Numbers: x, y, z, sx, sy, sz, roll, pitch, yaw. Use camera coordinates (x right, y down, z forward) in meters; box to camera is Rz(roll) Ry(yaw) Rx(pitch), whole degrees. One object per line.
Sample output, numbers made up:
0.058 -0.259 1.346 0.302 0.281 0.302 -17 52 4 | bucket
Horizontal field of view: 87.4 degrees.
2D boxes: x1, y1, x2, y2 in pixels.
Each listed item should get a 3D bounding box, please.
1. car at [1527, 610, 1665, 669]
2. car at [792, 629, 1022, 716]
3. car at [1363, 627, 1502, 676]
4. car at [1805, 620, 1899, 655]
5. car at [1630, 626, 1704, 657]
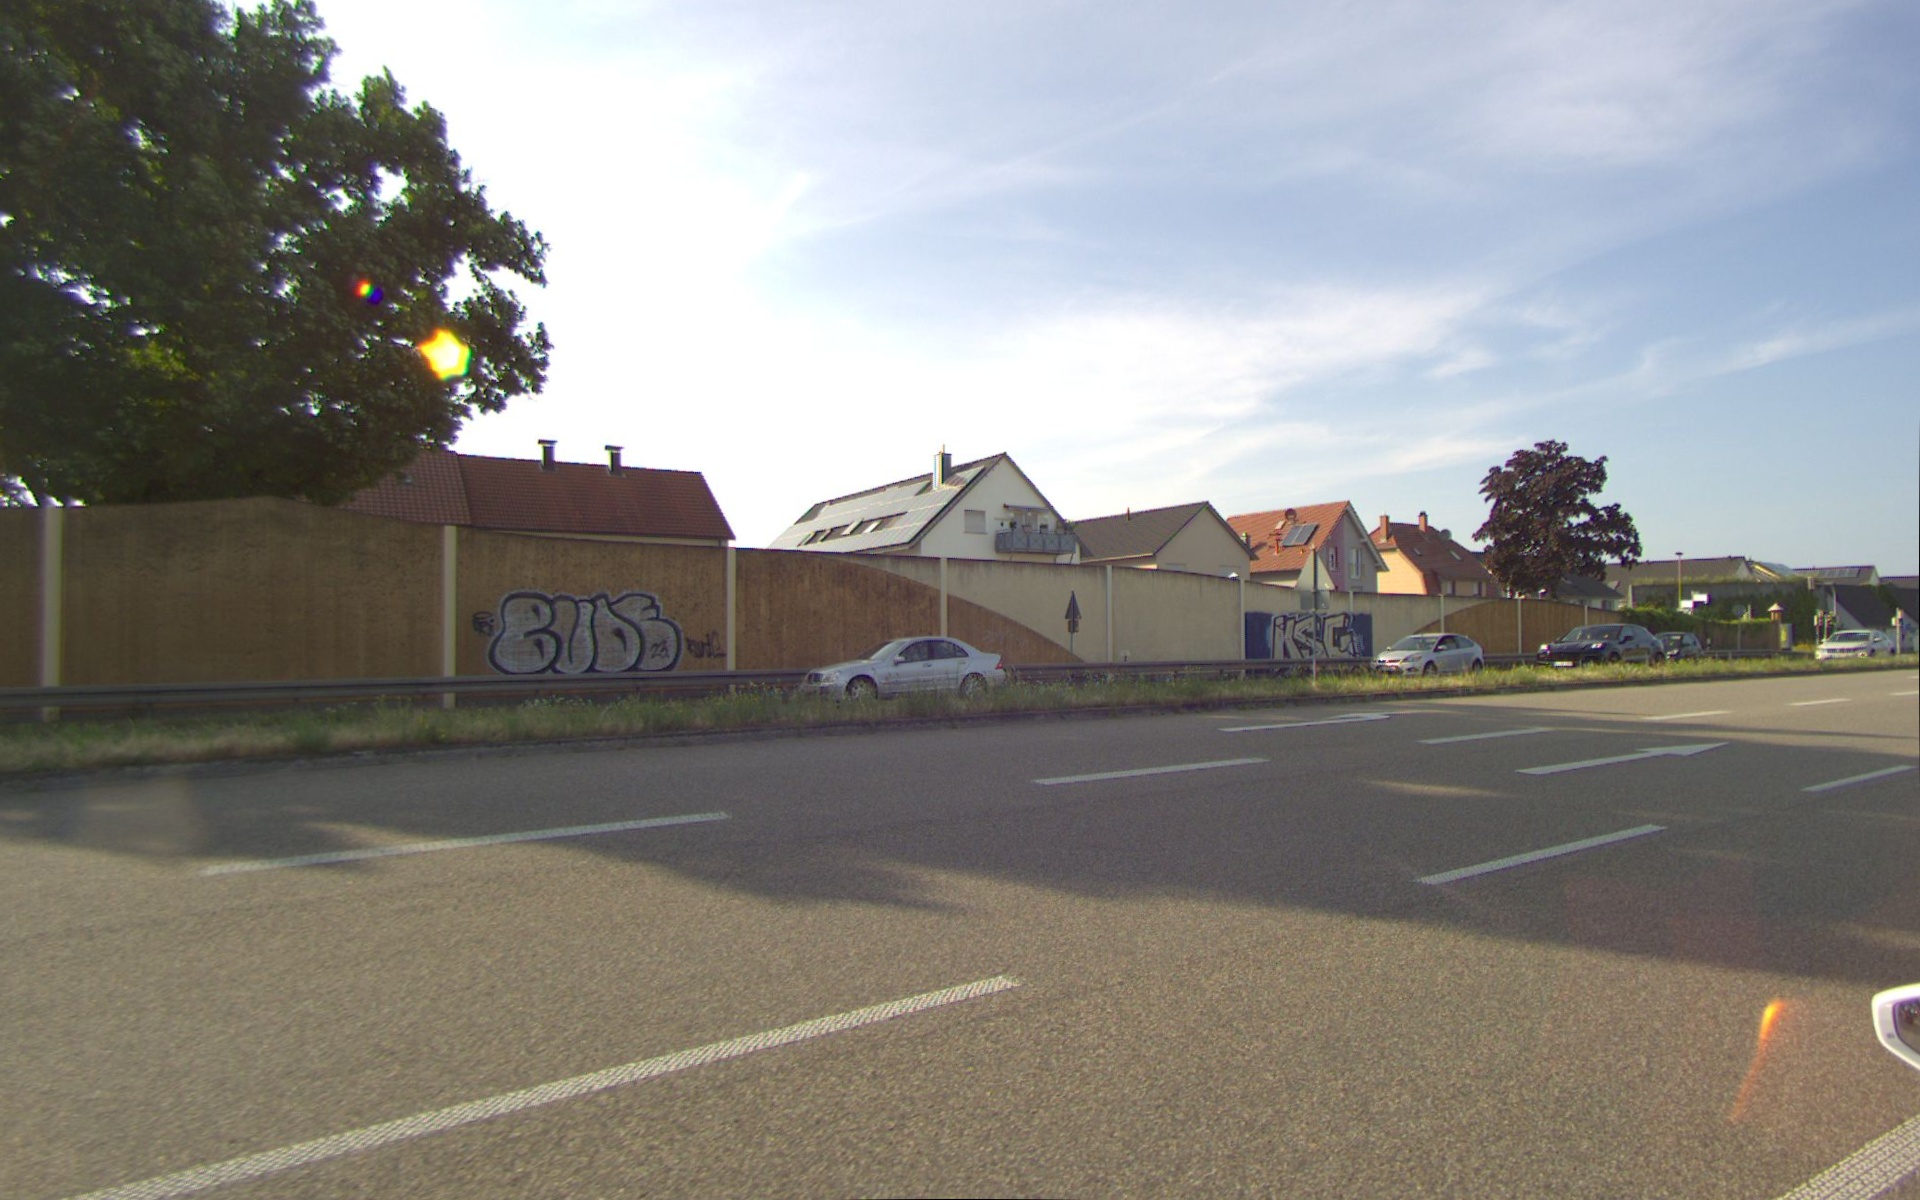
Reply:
19.190 1.143 30.245 4.871 1.647 1.720 1 0 -34 | car
-1.048 1.434 21.104 4.661 1.588 1.642 1 0 -33 | car
14.685 1.551 31.113 4.554 1.340 1.770 1 0 -33 | car
37.545 1.551 42.243 4.664 1.339 1.862 1 0 -34 | car
28.854 1.659 40.992 3.028 1.179 1.465 1 0 -33 | car
